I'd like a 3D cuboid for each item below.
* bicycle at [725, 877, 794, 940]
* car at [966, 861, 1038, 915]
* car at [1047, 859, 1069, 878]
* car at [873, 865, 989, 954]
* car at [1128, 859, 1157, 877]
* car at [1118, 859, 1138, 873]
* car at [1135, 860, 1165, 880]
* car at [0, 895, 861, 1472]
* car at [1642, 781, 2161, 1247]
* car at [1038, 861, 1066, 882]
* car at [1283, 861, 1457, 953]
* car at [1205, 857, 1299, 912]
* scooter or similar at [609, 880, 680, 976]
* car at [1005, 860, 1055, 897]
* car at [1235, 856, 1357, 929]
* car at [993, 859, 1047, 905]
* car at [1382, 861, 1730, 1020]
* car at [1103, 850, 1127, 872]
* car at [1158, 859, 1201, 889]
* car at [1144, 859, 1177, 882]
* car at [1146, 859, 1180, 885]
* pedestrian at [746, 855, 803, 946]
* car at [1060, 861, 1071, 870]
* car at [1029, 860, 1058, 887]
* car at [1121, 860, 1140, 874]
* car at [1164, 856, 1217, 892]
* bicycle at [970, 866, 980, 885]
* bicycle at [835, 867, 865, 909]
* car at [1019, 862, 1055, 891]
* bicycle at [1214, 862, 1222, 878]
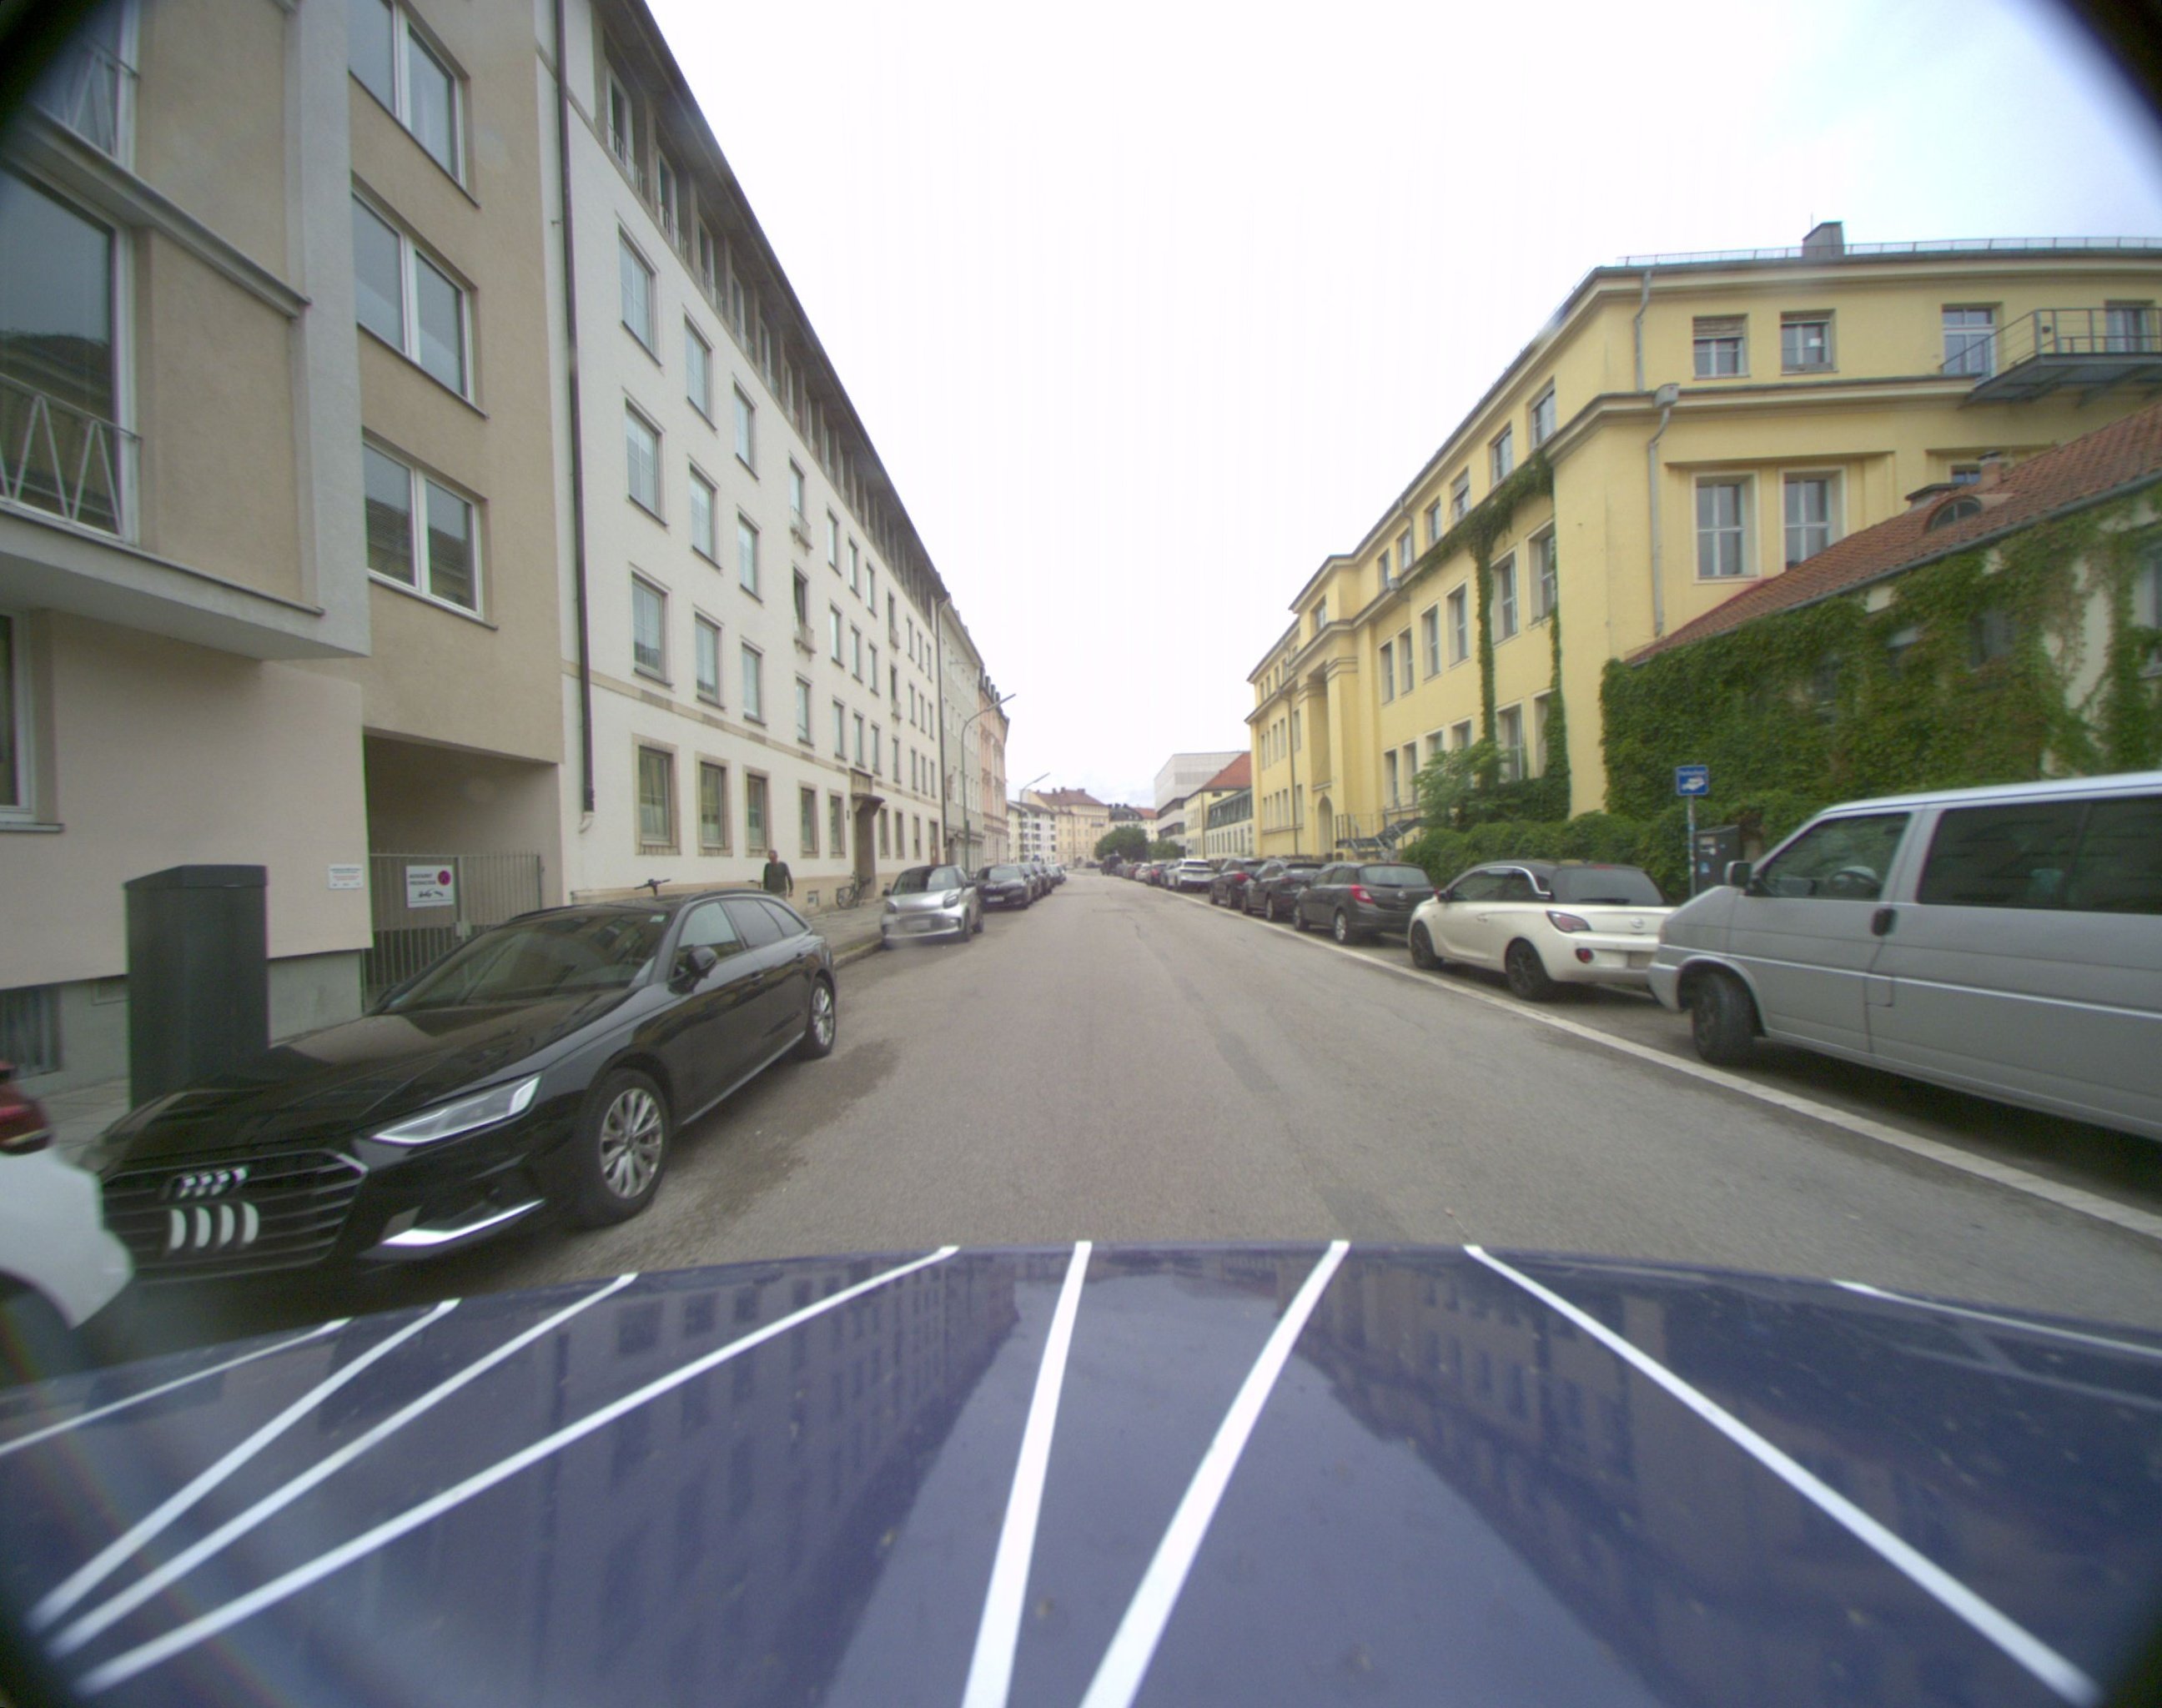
[{"bbox_3d":[-7.081,1.166,16.838,0.531,1.210,2.103,-2,0,1],"label":"bicycle"},{"bbox_3d":[-2.566,1.070,25.848,1.807,1.475,5.319,-5,0,0],"label":"car"},{"bbox_3d":[-2.193,1.396,71.949,1.686,1.663,3.802,-4,0,-7],"label":"car"},{"bbox_3d":[-2.954,1.044,15.545,1.654,1.486,2.881,-5,0,1],"label":"car"},{"bbox_3d":[5.364,1.213,66.514,1.963,1.473,4.528,1,0,-2],"label":"car"},{"bbox_3d":[5.616,1.481,91.772,1.919,1.577,4.352,1,-1,-3],"label":"car"},{"bbox_3d":[5.478,1.250,60.823,1.798,1.421,4.664,1,0,-1],"label":"car"},{"bbox_3d":[-2.951,1.136,4.749,1.750,1.380,4.953,-4,0,-2],"label":"car"},{"bbox_3d":[5.319,0.655,3.570,1.891,1.878,4.774,1,0,1],"label":"car"},{"bbox_3d":[-2.087,1.273,56.146,1.691,1.394,4.364,-3,0,2],"label":"car"},{"bbox_3d":[5.225,0.875,14.375,1.607,1.422,4.251,1,0,-1],"label":"car"},{"bbox_3d":[5.310,0.887,24.307,1.794,1.577,4.817,1,0,-1],"label":"car"},{"bbox_3d":[-7.112,1.166,12.441,0.441,1.351,1.588,-2,2,-11],"label":"scooter or similar"},{"bbox_3d":[-2.332,1.099,35.969,1.844,1.513,4.709,-3,0,2],"label":"car"},{"bbox_3d":[5.264,0.859,19.254,1.729,1.620,4.465,0,0,-1],"label":"car"},{"bbox_3d":[-2.425,1.077,31.102,1.649,1.580,4.634,-5,0,1],"label":"car"},{"bbox_3d":[5.244,0.833,9.121,1.595,1.432,4.018,1,0,-1],"label":"car"},{"bbox_3d":[4.547,0.929,102.802,2.220,2.837,6.193,1,0,-8],"label":"car"},{"bbox_3d":[5.491,1.079,42.900,1.708,1.493,4.494,3,0,-1],"label":"car"},{"bbox_3d":[5.532,1.111,53.242,1.789,1.423,4.652,-2,0,0],"label":"car"},{"bbox_3d":[5.137,1.117,48.012,1.703,1.488,4.149,2,0,0],"label":"car"},{"bbox_3d":[-6.083,0.901,15.119,0.724,1.753,0.905,0,0,1],"label":"pedestrian"},{"bbox_3d":[-3.299,2.534,165.012,1.921,1.836,5.321,0,-4,-7],"label":"car"},{"bbox_3d":[-2.425,1.246,49.483,1.711,1.583,4.361,-3,-1,-3],"label":"car"},{"bbox_3d":[5.670,1.486,87.009,1.918,1.473,4.532,1,-1,1],"label":"car"},{"bbox_3d":[5.393,0.941,37.933,1.750,1.624,4.855,0,0,-2],"label":"car"},{"bbox_3d":[-6.927,1.397,49.711,0.385,1.151,1.950,-2,0,0],"label":"bicycle"},{"bbox_3d":[-7.182,1.027,23.670,0.514,1.215,1.988,-2,0,-6],"label":"bicycle"},{"bbox_3d":[-2.456,1.228,43.286,1.677,1.421,4.530,-4,0,1],"label":"car"},{"bbox_3d":[10.004,1.146,55.330,0.538,1.056,1.641,-2,0,10],"label":"bicycle"}]
